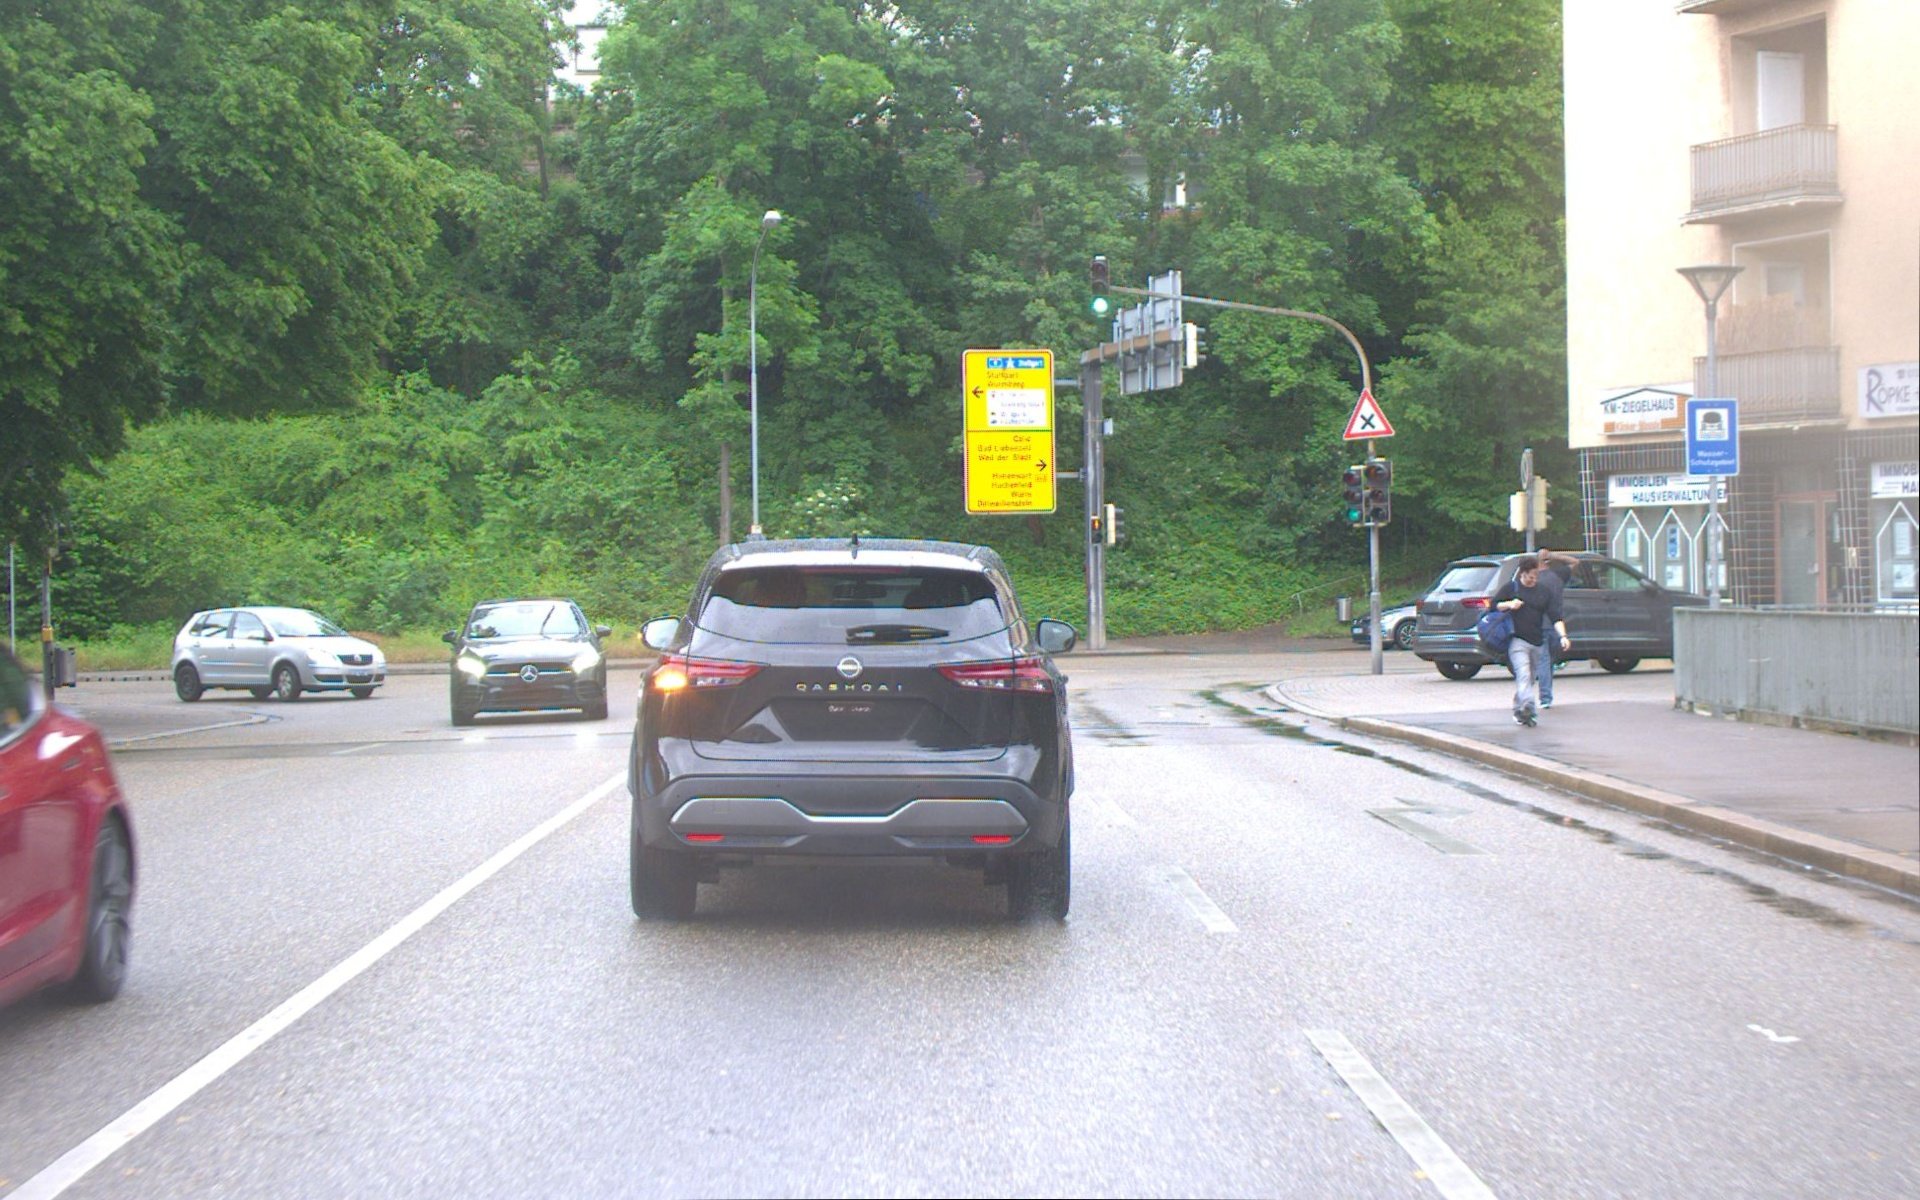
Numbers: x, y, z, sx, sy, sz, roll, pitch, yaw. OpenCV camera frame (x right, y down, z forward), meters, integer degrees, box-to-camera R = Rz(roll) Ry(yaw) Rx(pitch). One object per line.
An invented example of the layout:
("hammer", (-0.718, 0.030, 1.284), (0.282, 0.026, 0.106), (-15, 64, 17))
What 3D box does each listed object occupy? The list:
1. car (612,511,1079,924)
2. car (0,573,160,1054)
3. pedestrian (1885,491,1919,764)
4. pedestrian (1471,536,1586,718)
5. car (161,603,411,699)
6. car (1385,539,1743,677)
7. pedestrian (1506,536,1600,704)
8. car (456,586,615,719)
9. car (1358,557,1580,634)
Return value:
("car", (-0.484, 0.462, 15.442), (1.811, 1.597, 4.000), (-1, 0, -1))
("car", (-3.750, 0.673, 10.173), (1.781, 1.397, 4.219), (-2, 1, -1))
("pedestrian", (6.713, 0.168, 23.040), (0.761, 1.802, 0.781), (-2, 1, -1))
("pedestrian", (5.203, 0.241, 31.500), (0.862, 1.613, 0.839), (-2, 0, -1))
("car", (-10.526, 0.803, 53.626), (3.680, 1.415, 1.628), (-1, 0, 32))
("car", (8.021, 0.093, 45.627), (4.366, 1.643, 1.884), (-2, 0, -26))
("pedestrian", (6.090, 0.195, 35.336), (0.761, 1.671, 0.781), (-3, 1, -1))
("car", (-4.982, 0.581, 40.594), (1.709, 1.411, 4.095), (-2, 1, -6))
("car", (10.965, -0.102, 74.161), (4.323, 1.497, 1.884), (-2, 0, -12))
